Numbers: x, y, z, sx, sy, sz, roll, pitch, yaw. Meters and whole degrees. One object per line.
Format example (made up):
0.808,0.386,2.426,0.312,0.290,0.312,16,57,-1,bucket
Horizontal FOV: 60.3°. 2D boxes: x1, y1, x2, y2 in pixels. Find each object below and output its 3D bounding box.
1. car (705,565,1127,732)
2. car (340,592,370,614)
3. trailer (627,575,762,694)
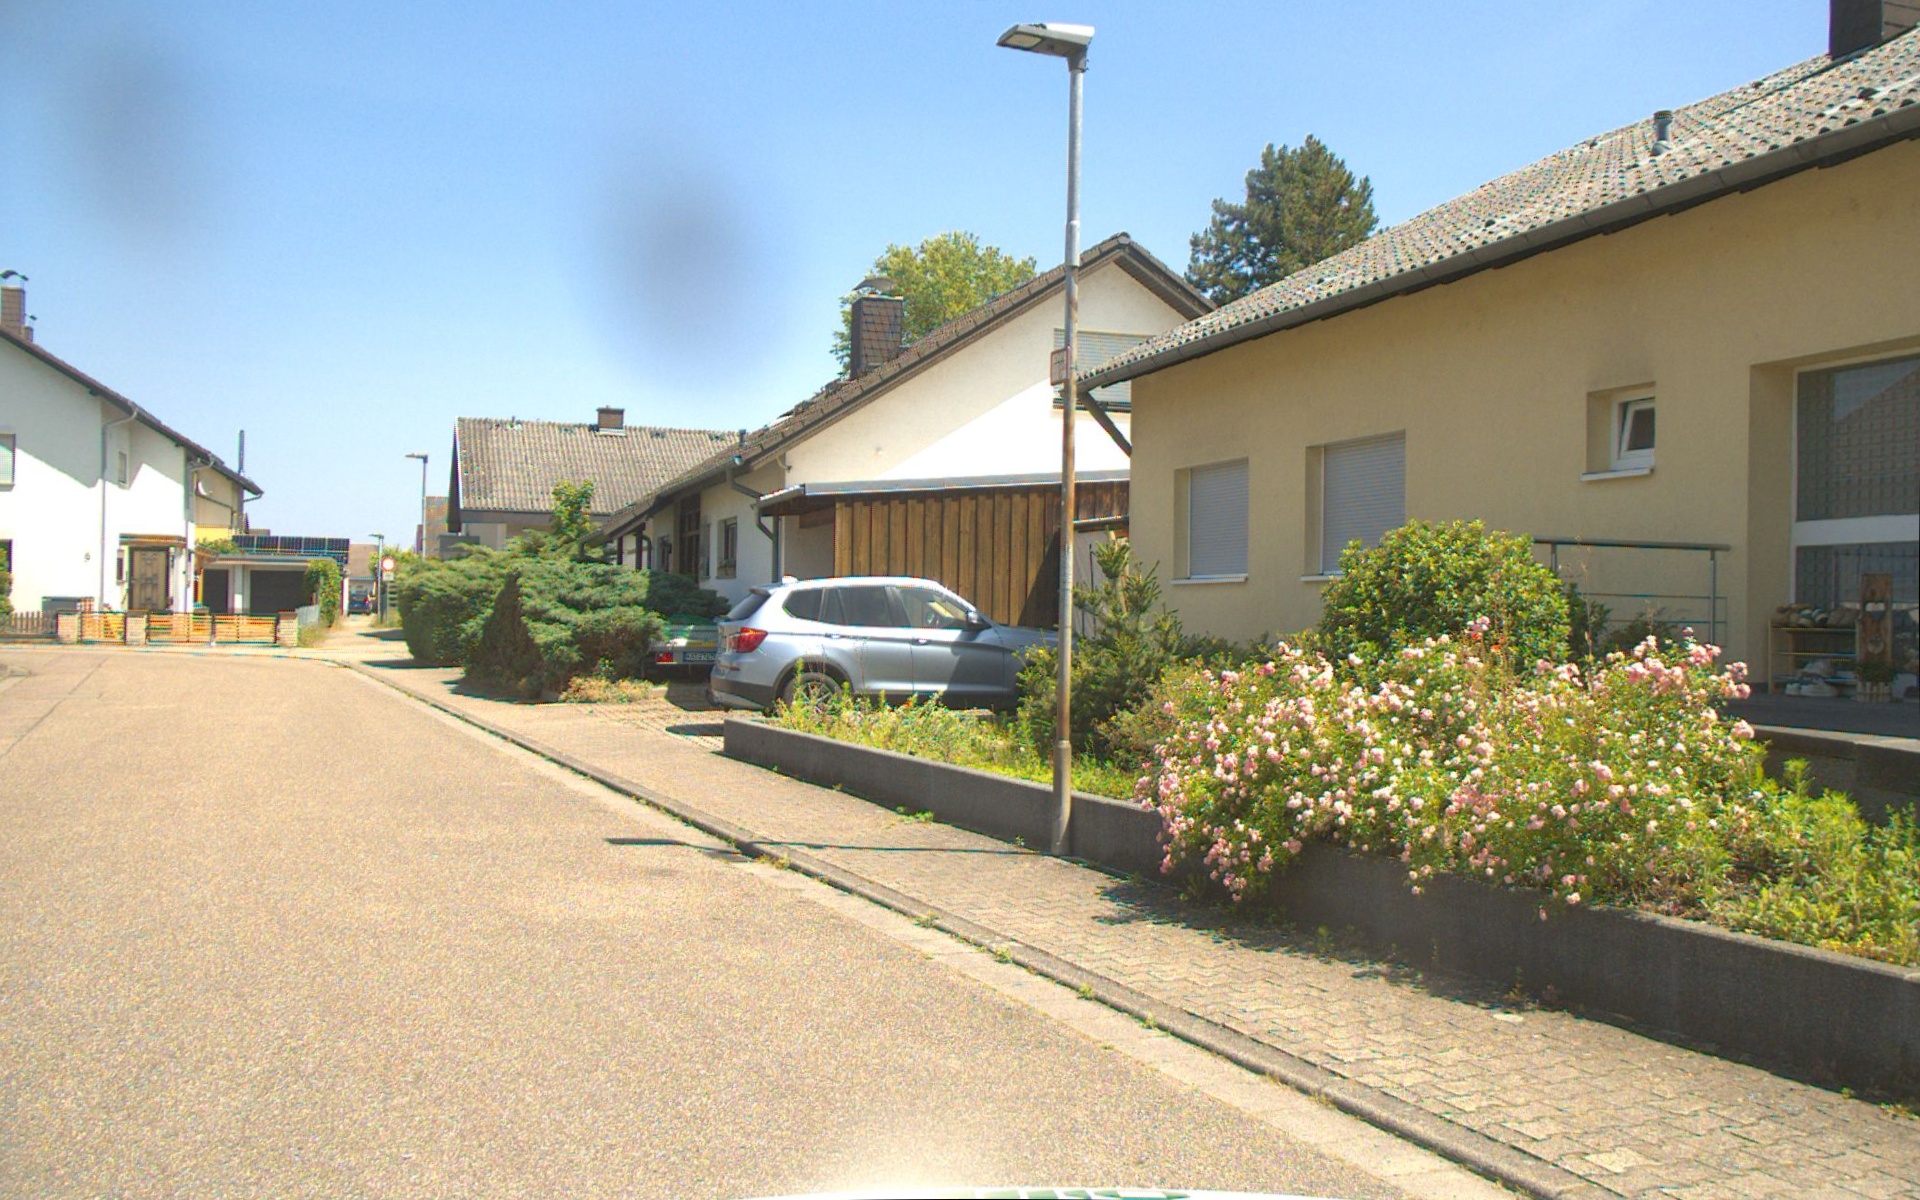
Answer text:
-0.522,0.495,18.930,4.553,1.732,1.702,-1,0,-17,car
-49.129,0.244,134.358,2.160,1.731,3.787,1,0,-19,car
-4.168,0.473,25.655,1.563,1.701,3.279,-1,1,-18,trailer
